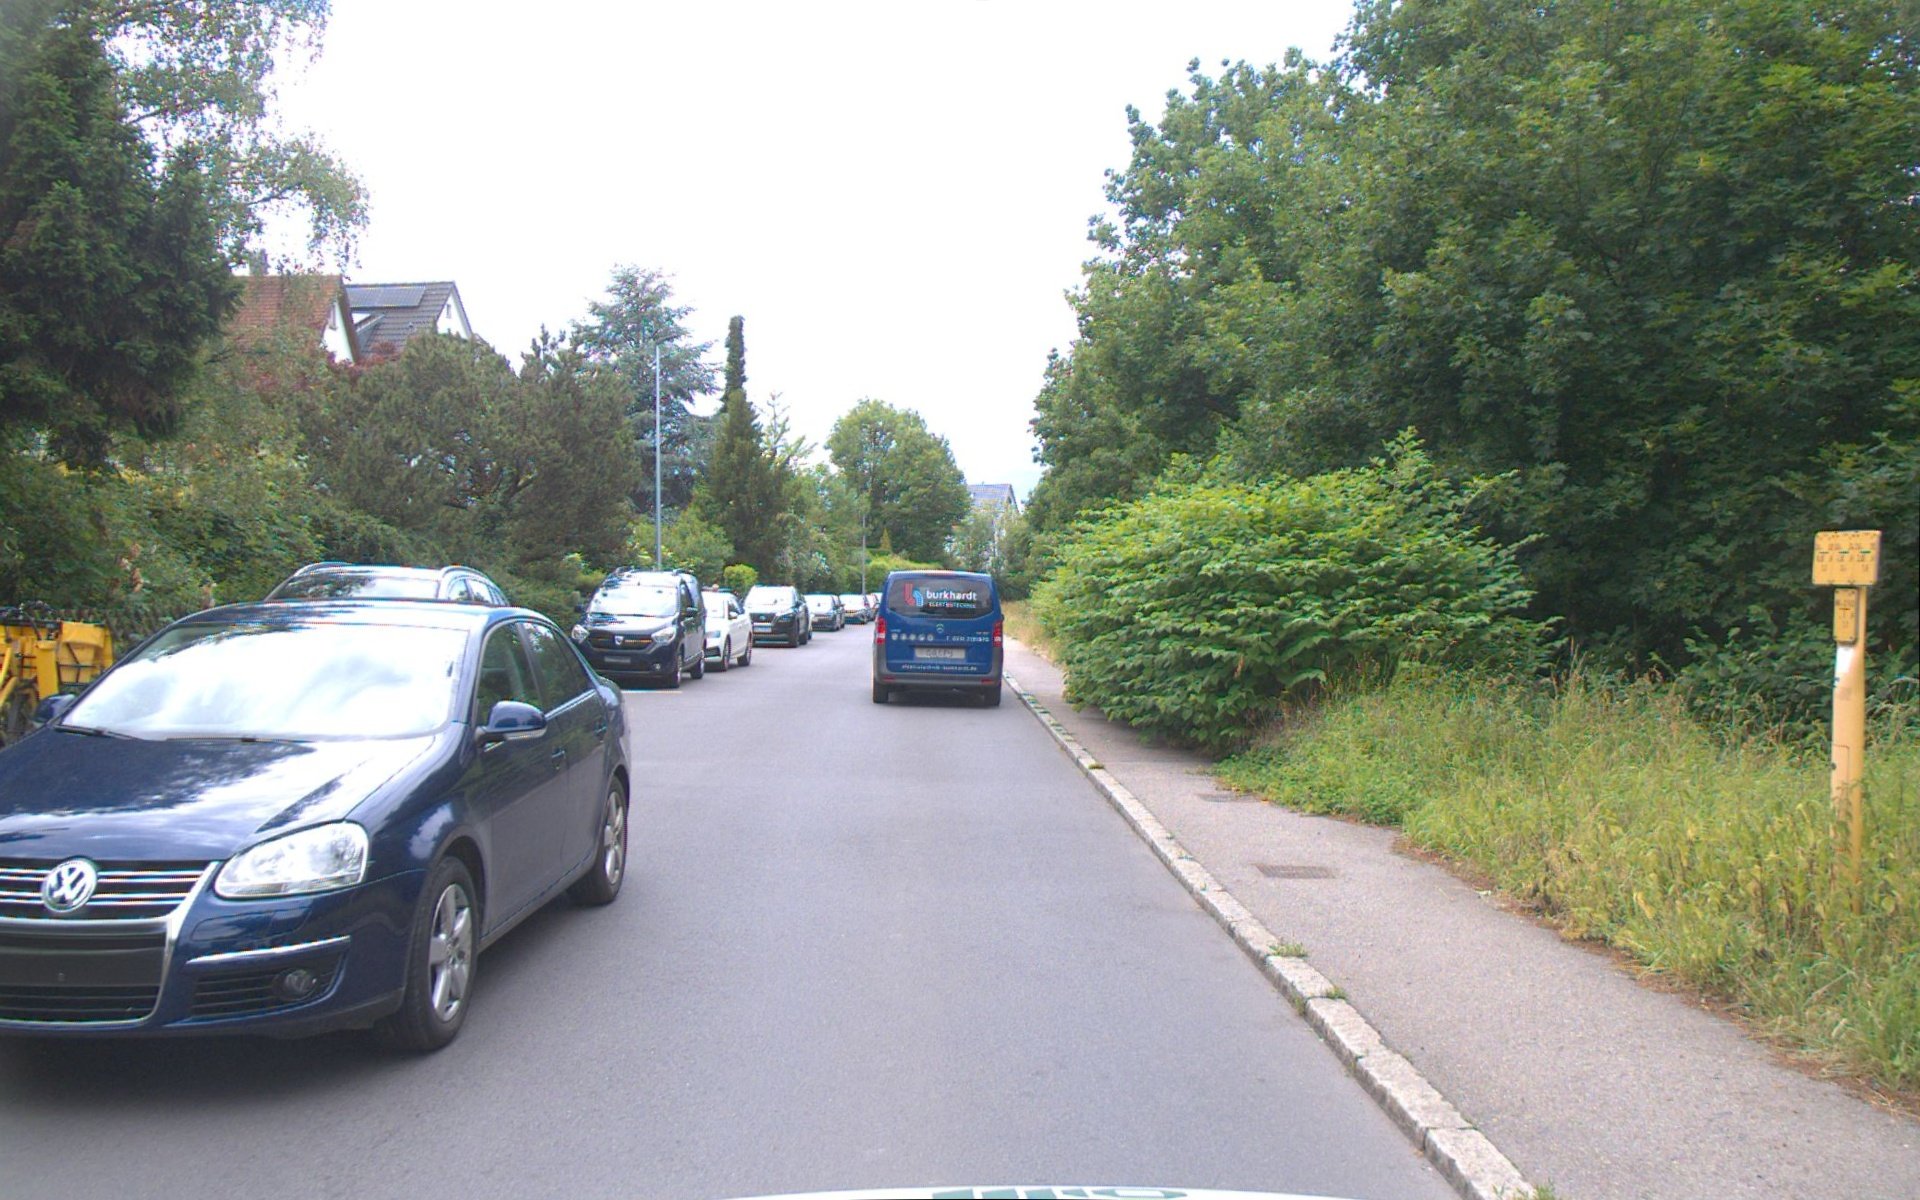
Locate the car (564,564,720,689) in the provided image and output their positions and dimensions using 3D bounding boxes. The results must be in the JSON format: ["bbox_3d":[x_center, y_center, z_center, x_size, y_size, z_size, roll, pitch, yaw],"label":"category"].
[{"bbox_3d":[-5.075,0.398,26.899,1.672,1.831,4.297,1,0,0],"label":"car"}]

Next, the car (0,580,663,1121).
[{"bbox_3d":[-2.444,0.700,6.771,1.672,1.500,4.195,1,0,0],"label":"car"}]

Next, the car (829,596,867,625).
[{"bbox_3d":[-5.670,0.523,84.198,1.672,1.434,4.159,1,0,-1],"label":"car"}]

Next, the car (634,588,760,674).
[{"bbox_3d":[-5.111,0.567,32.684,1.672,1.538,4.555,1,0,1],"label":"car"}]

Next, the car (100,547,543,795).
[{"bbox_3d":[-4.909,0.475,13.537,1.759,1.635,4.730,1,0,0],"label":"car"}]

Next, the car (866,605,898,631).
[{"bbox_3d":[-4.852,1.104,103.059,1.511,1.541,3.646,1,0,4],"label":"car"}]

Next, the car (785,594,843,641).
[{"bbox_3d":[-4.968,0.579,56.707,1.672,1.538,3.945,1,0,-1],"label":"car"}]

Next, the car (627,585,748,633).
[{"bbox_3d":[-9.949,0.310,60.529,3.902,1.574,1.843,2,0,13],"label":"car"}]

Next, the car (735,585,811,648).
[{"bbox_3d":[-5.334,0.453,47.652,1.755,1.693,4.390,1,0,-1],"label":"car"}]

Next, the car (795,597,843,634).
[{"bbox_3d":[-5.691,0.611,67.147,1.672,1.441,4.148,1,0,-1],"label":"car"}]

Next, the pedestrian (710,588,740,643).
[{"bbox_3d":[-6.952,0.463,48.957,0.753,1.602,0.820,1,0,0],"label":"pedestrian"}]

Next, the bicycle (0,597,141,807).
[{"bbox_3d":[-6.375,0.613,10.407,1.129,1.251,2.718,1,0,-2],"label":"bicycle"}]

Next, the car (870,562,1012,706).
[{"bbox_3d":[-0.338,0.458,24.716,1.897,1.913,4.528,1,0,-2],"label":"car"}]
